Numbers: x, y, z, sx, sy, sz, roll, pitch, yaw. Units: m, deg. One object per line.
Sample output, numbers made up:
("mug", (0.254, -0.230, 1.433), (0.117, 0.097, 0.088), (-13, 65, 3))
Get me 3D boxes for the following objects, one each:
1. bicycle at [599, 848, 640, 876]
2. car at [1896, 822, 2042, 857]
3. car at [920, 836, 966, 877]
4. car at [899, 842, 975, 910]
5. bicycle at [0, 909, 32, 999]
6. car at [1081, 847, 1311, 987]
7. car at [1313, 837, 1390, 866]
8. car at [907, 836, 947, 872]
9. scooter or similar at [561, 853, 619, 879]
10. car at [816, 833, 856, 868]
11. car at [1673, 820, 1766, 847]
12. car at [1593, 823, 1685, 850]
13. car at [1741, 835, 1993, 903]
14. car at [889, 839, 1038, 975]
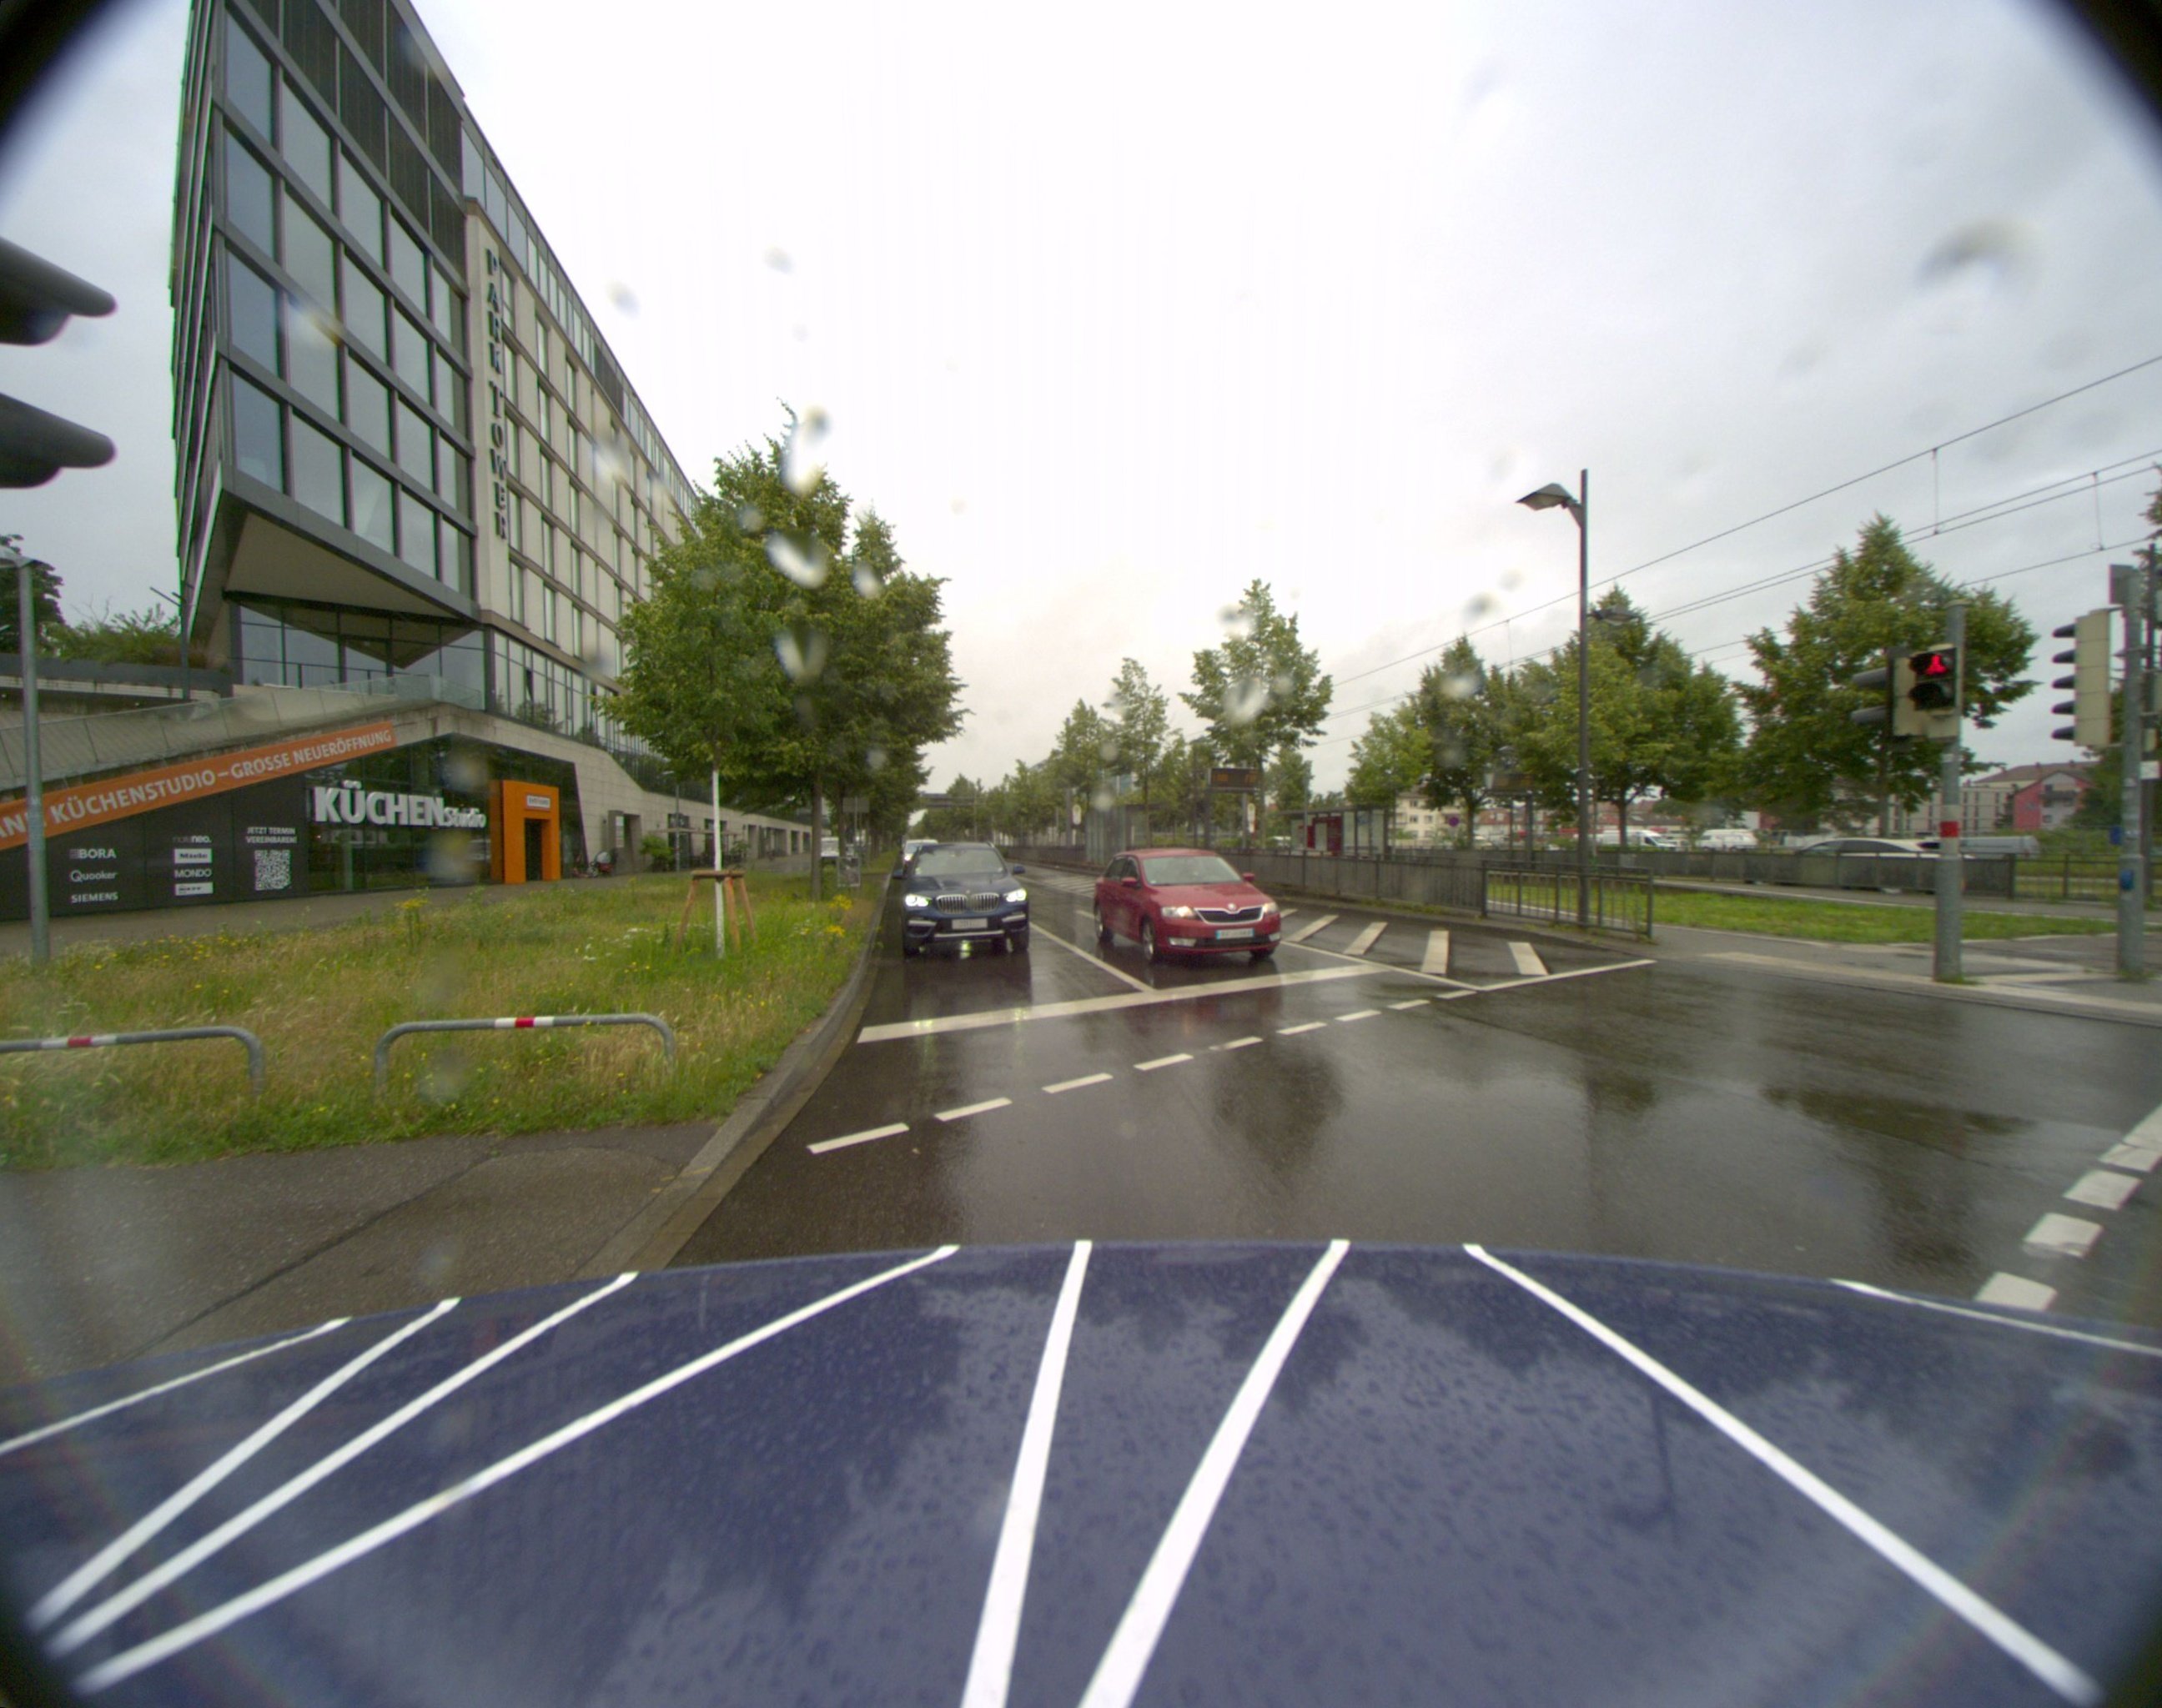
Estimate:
("bicycle", (-23.742, 0.396, 39.126), (0.883, 1.340, 2.693), (-3, 2, -12))
("car", (67.546, -1.105, 57.988), (2.360, 2.462, 6.821), (-1, 1, -26))
("car", (-6.186, 0.069, 33.813), (1.789, 1.638, 3.995), (-3, 2, -12))
("car", (-4.263, 0.560, 22.762), (1.918, 1.737, 4.378), (-3, 2, -10))
("bicycle", (-10.404, 0.972, 6.365), (0.637, 0.842, 2.161), (-1, 1, -15))
("car", (1.356, 0.688, 10.861), (1.789, 1.451, 4.309), (-3, 2, -12))
("car", (15.152, -0.173, 42.786), (1.832, 1.478, 4.620), (-3, 2, -13))
("car", (-7.812, -0.039, 38.480), (1.789, 1.638, 3.995), (-3, 2, -12))
("scooter or similar", (-23.270, 0.546, 36.073), (0.811, 1.093, 2.614), (-2, 2, 6))
("car", (-17.077, -0.291, 53.170), (2.086, 2.189, 5.090), (-3, 2, -12))
("car", (62.818, -2.024, 74.977), (2.502, 2.463, 6.825), (-3, 2, -16))
("car", (55.657, -1.718, 76.061), (2.358, 2.463, 7.627), (-3, 2, -16))
("car", (20.332, 0.310, 19.938), (1.853, 1.478, 4.219), (-3, 2, -15))
("car", (-2.032, 0.668, 12.475), (1.918, 1.737, 4.377), (-3, 2, -12))
